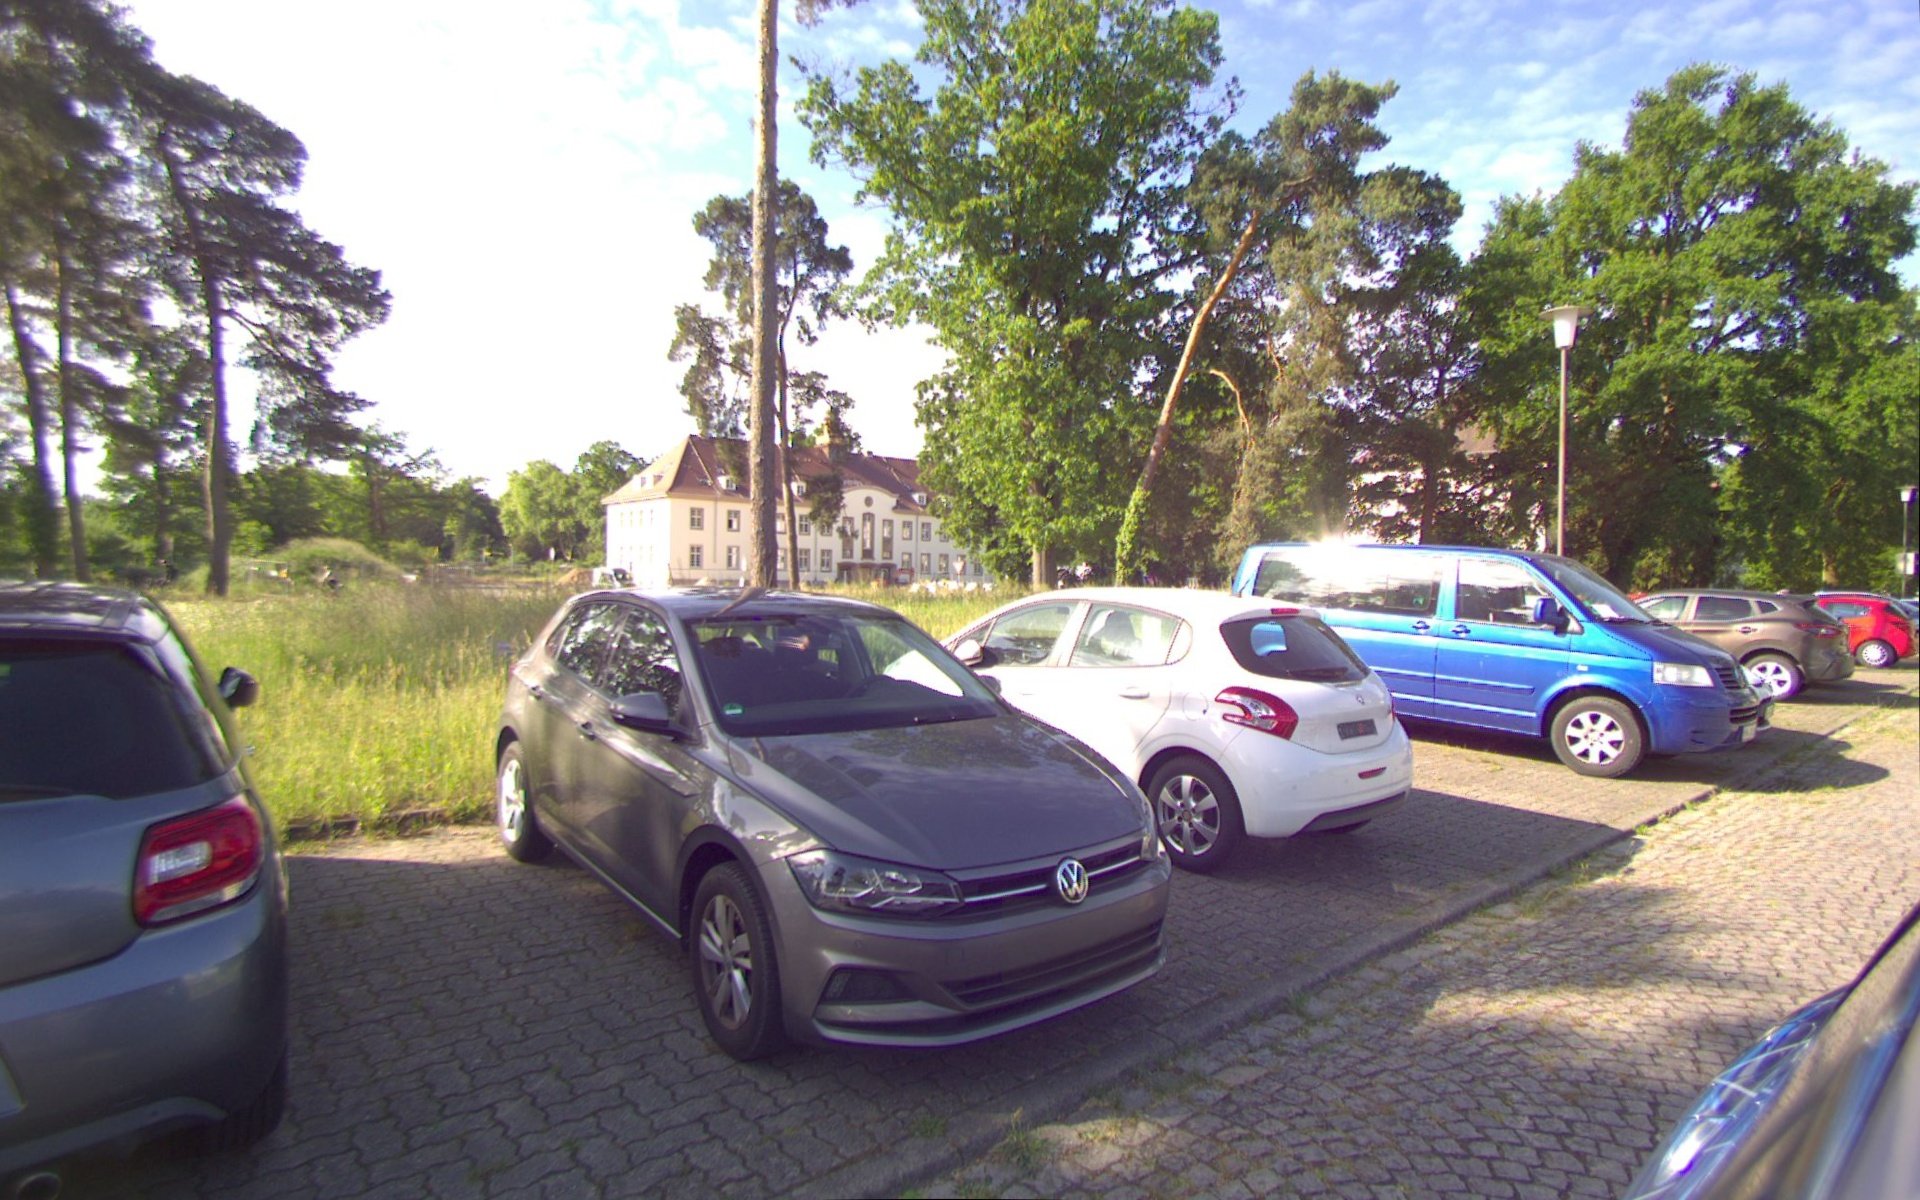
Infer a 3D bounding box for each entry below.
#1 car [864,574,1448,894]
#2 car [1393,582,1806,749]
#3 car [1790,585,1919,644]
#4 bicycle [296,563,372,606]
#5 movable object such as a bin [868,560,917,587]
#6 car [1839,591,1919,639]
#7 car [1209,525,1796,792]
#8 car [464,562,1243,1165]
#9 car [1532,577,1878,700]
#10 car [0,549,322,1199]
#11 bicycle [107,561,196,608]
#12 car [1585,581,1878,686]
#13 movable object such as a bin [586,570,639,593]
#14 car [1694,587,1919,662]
[{"bbox_3d":[1.054,0.602,6.785,1.605,1.510,3.653,0,2,-40],"label":"car"},{"bbox_3d":[7.208,0.606,11.687,1.582,1.485,3.726,0,3,-42],"label":"car"},{"bbox_3d":[26.836,0.383,29.208,1.622,1.618,4.270,0,1,-41],"label":"car"},{"bbox_3d":[-30.926,-0.811,50.039,3.078,2.038,0.952,-3,3,-42],"label":"bicycle"},{"bbox_3d":[-7.473,-2.909,112.249,4.975,2.937,2.182,0,1,-34],"label":"movable object such as a bin"},{"bbox_3d":[30.562,0.473,32.101,1.716,1.484,3.808,0,1,-39],"label":"car"},{"bbox_3d":[5.105,0.311,10.180,1.965,2.038,4.766,0,3,-40],"label":"car"},{"bbox_3d":[-0.846,0.611,4.583,1.726,1.468,3.791,0,3,-39],"label":"car"},{"bbox_3d":[11.571,0.487,15.950,1.755,1.631,4.114,0,2,-42],"label":"car"},{"bbox_3d":[-3.243,0.603,3.149,1.637,1.472,3.671,0,3,-40],"label":"car"},{"bbox_3d":[-36.756,-0.725,46.048,3.078,2.038,0.952,-3,3,-42],"label":"bicycle"},{"bbox_3d":[13.531,0.491,17.933,1.673,1.557,3.834,0,2,-40],"label":"car"},{"bbox_3d":[-33.189,-1.769,96.584,5.712,2.039,2.093,2,2,40],"label":"movable object such as a bin"},{"bbox_3d":[19.085,0.487,22.721,1.513,1.514,3.994,0,1,-41],"label":"car"}]
